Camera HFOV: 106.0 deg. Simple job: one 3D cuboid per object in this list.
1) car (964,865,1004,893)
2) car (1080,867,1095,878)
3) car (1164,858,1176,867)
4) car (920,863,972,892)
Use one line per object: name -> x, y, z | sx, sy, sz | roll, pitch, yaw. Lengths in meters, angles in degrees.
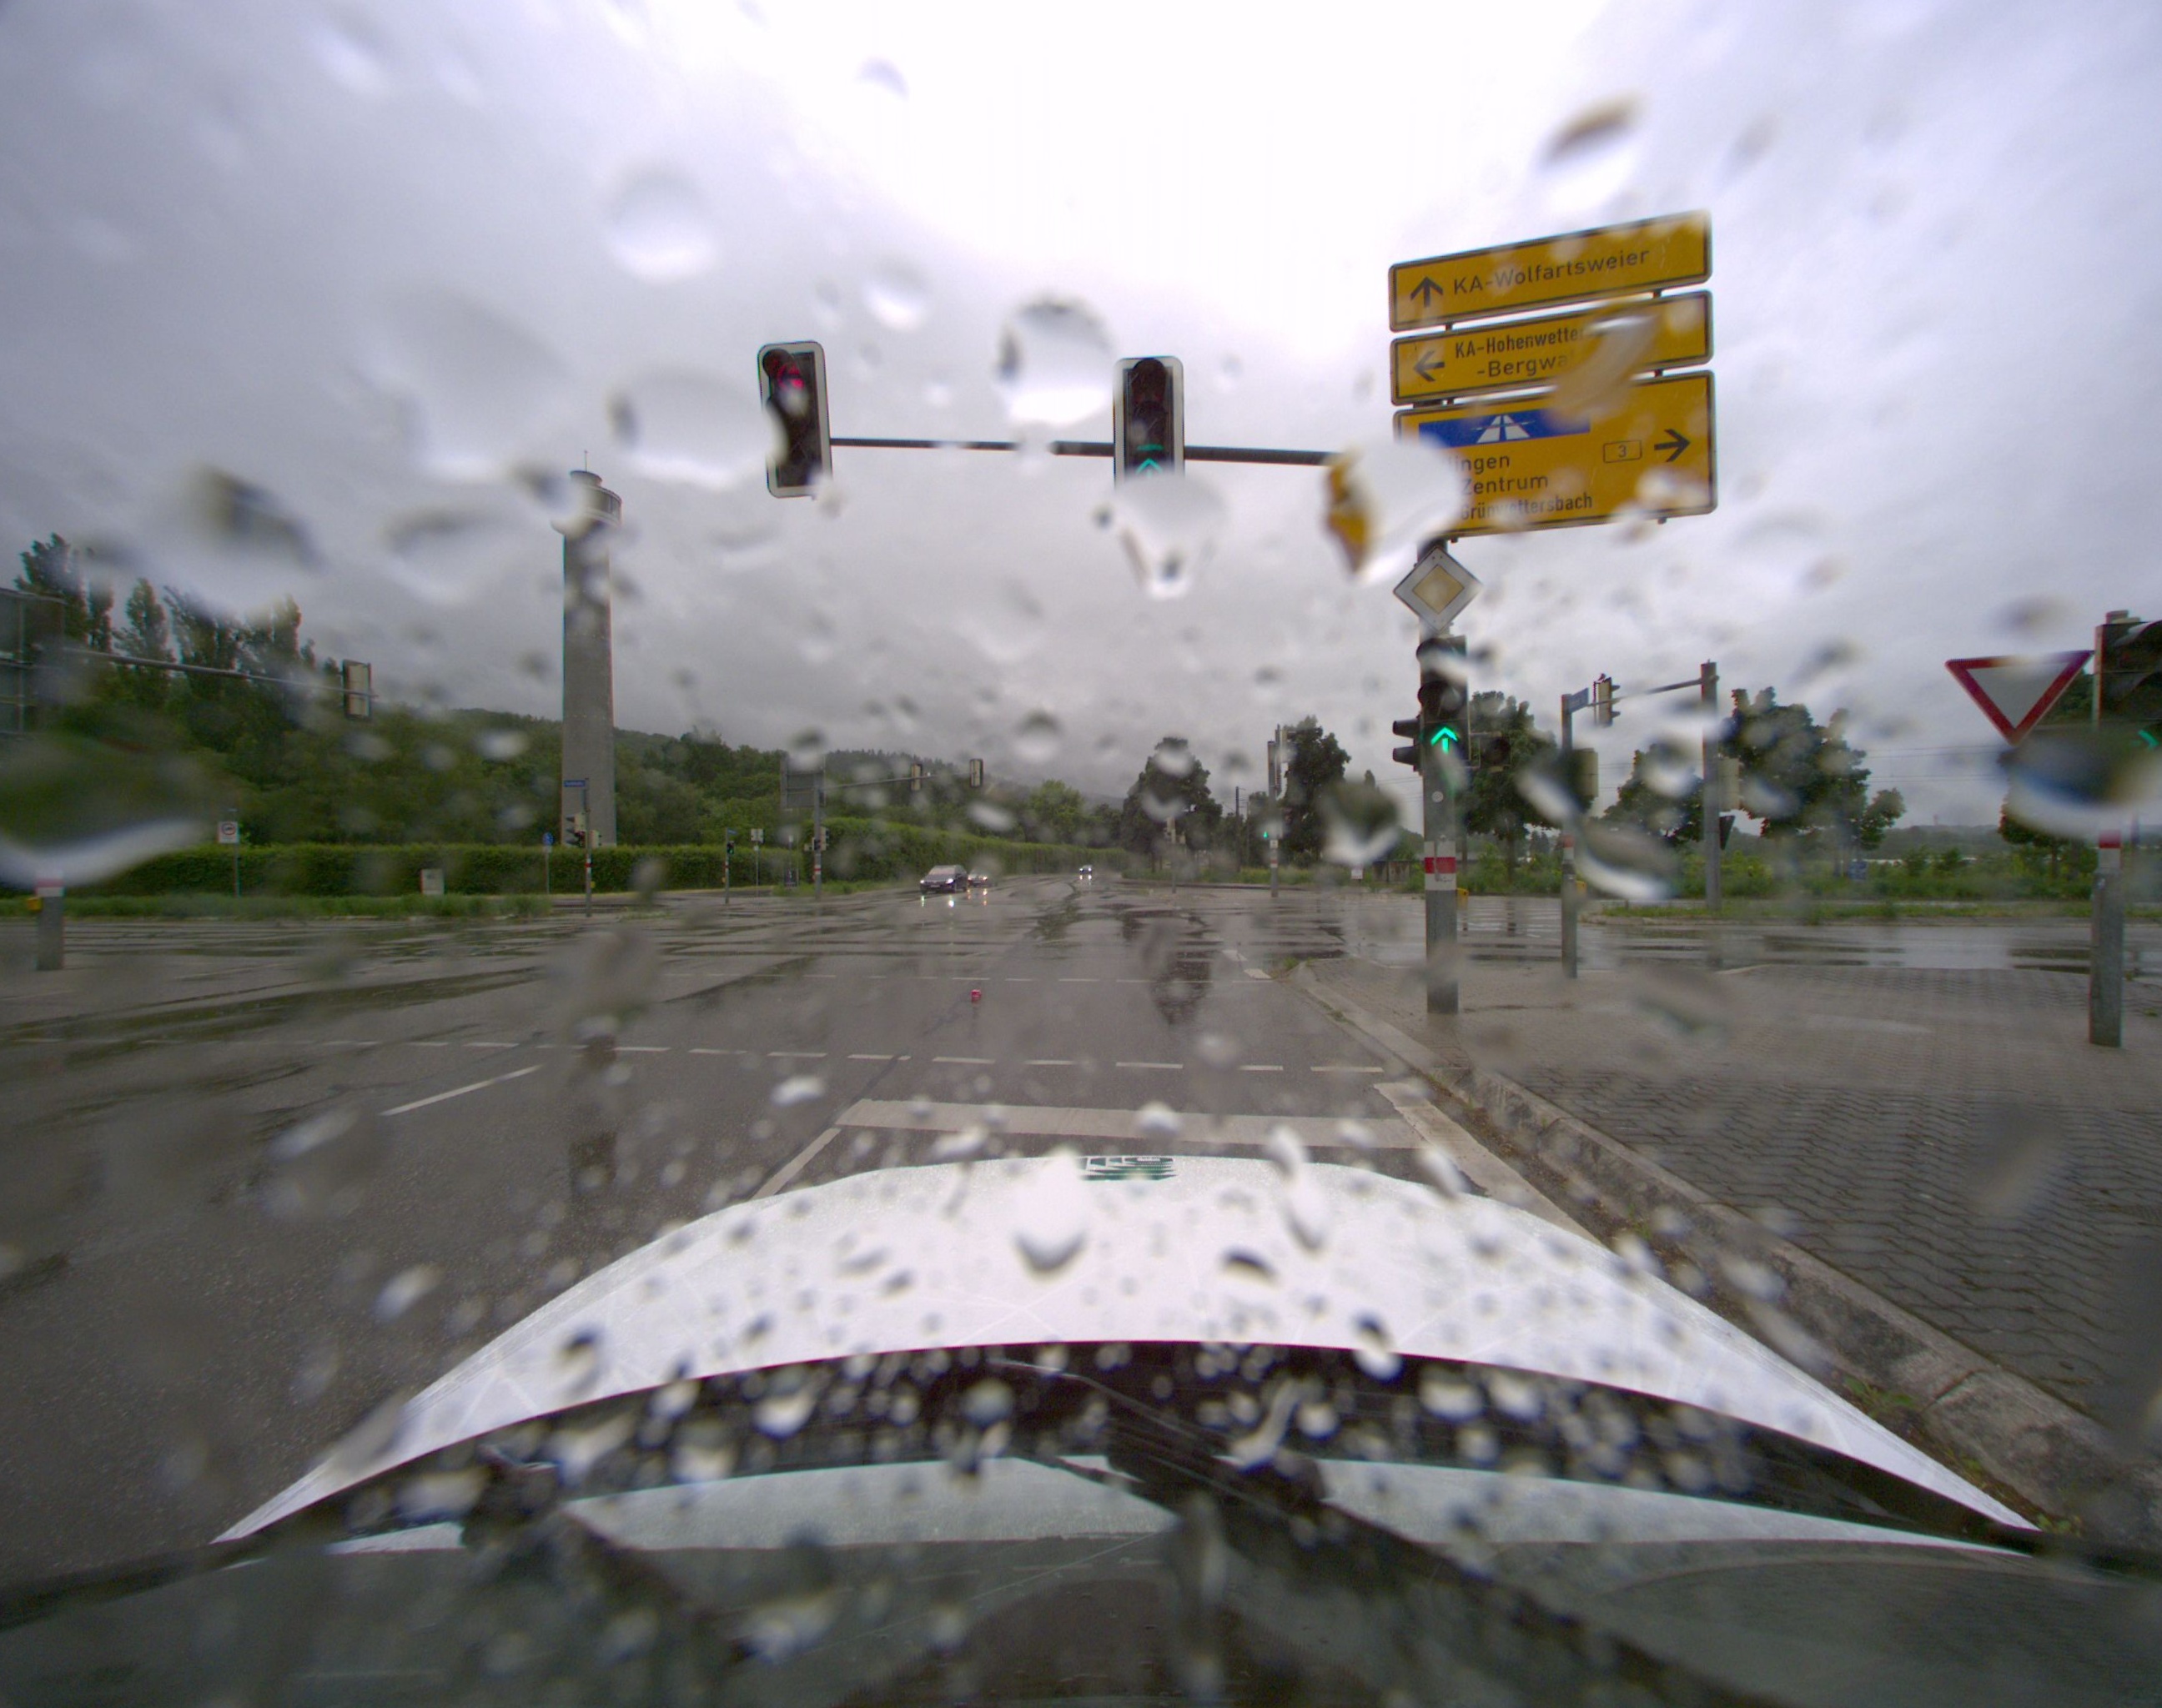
car -> -6.364, 1.645, 54.088 | 2.029, 1.708, 4.067 | -1, 0, 2
car -> 1.009, 2.765, 123.932 | 1.775, 1.504, 4.070 | 0, 0, 8
car -> 19.282, 1.781, 175.782 | 1.939, 1.904, 4.137 | -1, 0, 15
car -> -7.185, 1.229, 43.715 | 1.701, 1.466, 4.458 | -1, 0, 4
